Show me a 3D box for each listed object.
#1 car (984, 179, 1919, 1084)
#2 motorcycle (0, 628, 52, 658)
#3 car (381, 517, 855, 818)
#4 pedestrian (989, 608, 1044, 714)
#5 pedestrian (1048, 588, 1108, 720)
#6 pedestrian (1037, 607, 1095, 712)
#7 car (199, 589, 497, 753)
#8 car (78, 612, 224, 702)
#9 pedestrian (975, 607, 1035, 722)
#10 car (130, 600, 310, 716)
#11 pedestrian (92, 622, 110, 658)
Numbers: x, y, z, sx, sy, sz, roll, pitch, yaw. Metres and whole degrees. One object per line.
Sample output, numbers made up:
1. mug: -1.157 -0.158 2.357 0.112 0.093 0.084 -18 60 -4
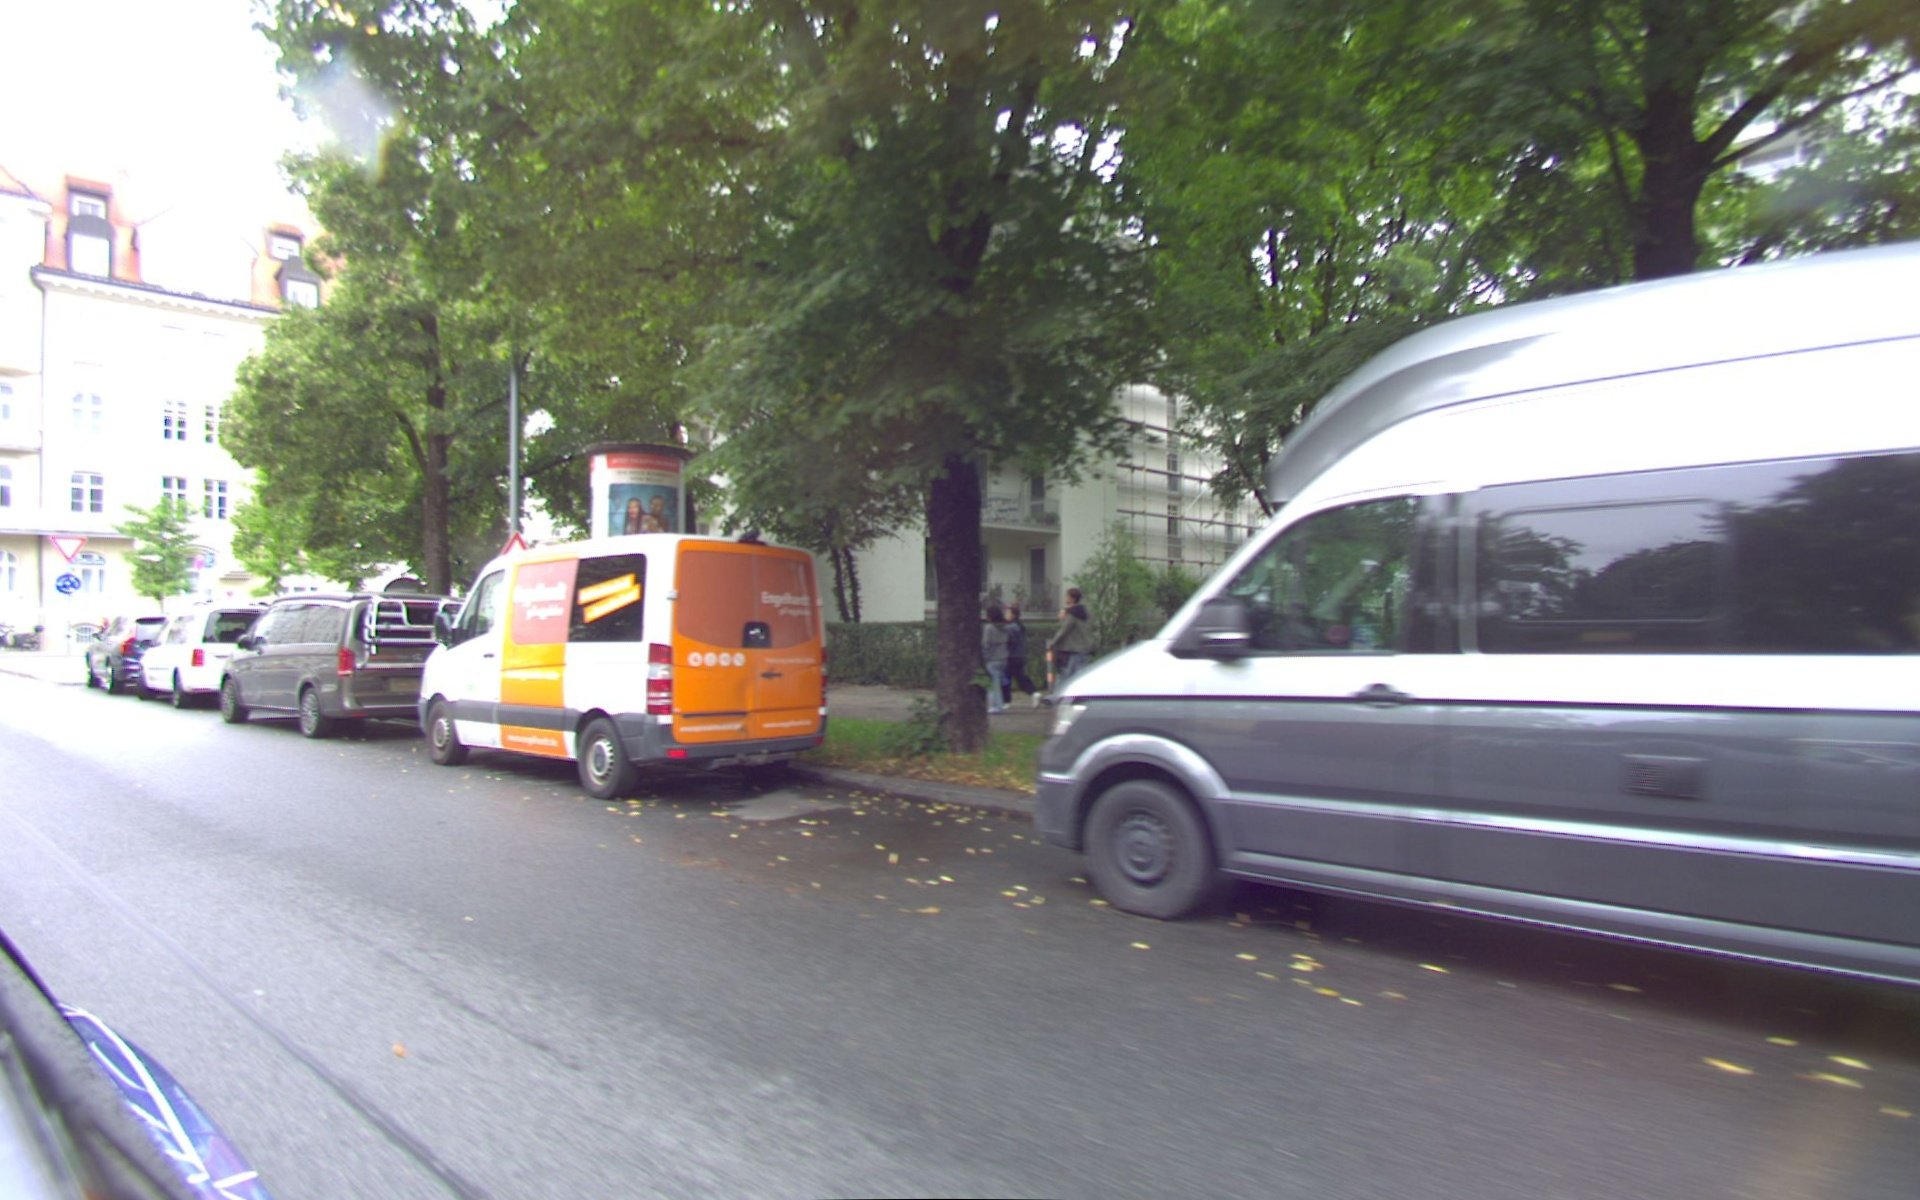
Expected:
1. car: 3.124 0.110 4.431 6.233 2.876 1.925 0 -1 41
2. motorcycle: -43.393 1.955 46.680 0.824 1.336 2.213 0 -1 44
3. car: -3.746 0.609 10.499 5.401 2.366 2.094 -2 -2 39
4. pedestrian: 0.852 0.898 15.257 0.537 1.560 0.639 -1 -1 41
5. pedestrian: 1.700 0.759 14.552 0.537 1.834 0.691 -1 -1 41
6. pedestrian: 1.621 0.893 15.477 0.639 1.563 0.624 -1 -1 41
7. car: -9.056 0.946 14.742 5.453 1.979 1.926 -1 -3 39
8. car: -18.391 1.187 22.906 5.060 1.781 1.859 0 -1 43
9. pedestrian: 0.647 0.899 14.485 0.537 1.603 0.691 -1 -1 41
10. car: -14.240 1.060 19.359 4.833 1.952 1.859 -2 -3 43
11. pedestrian: -41.251 1.910 48.600 0.597 1.677 0.464 1 -1 -38
